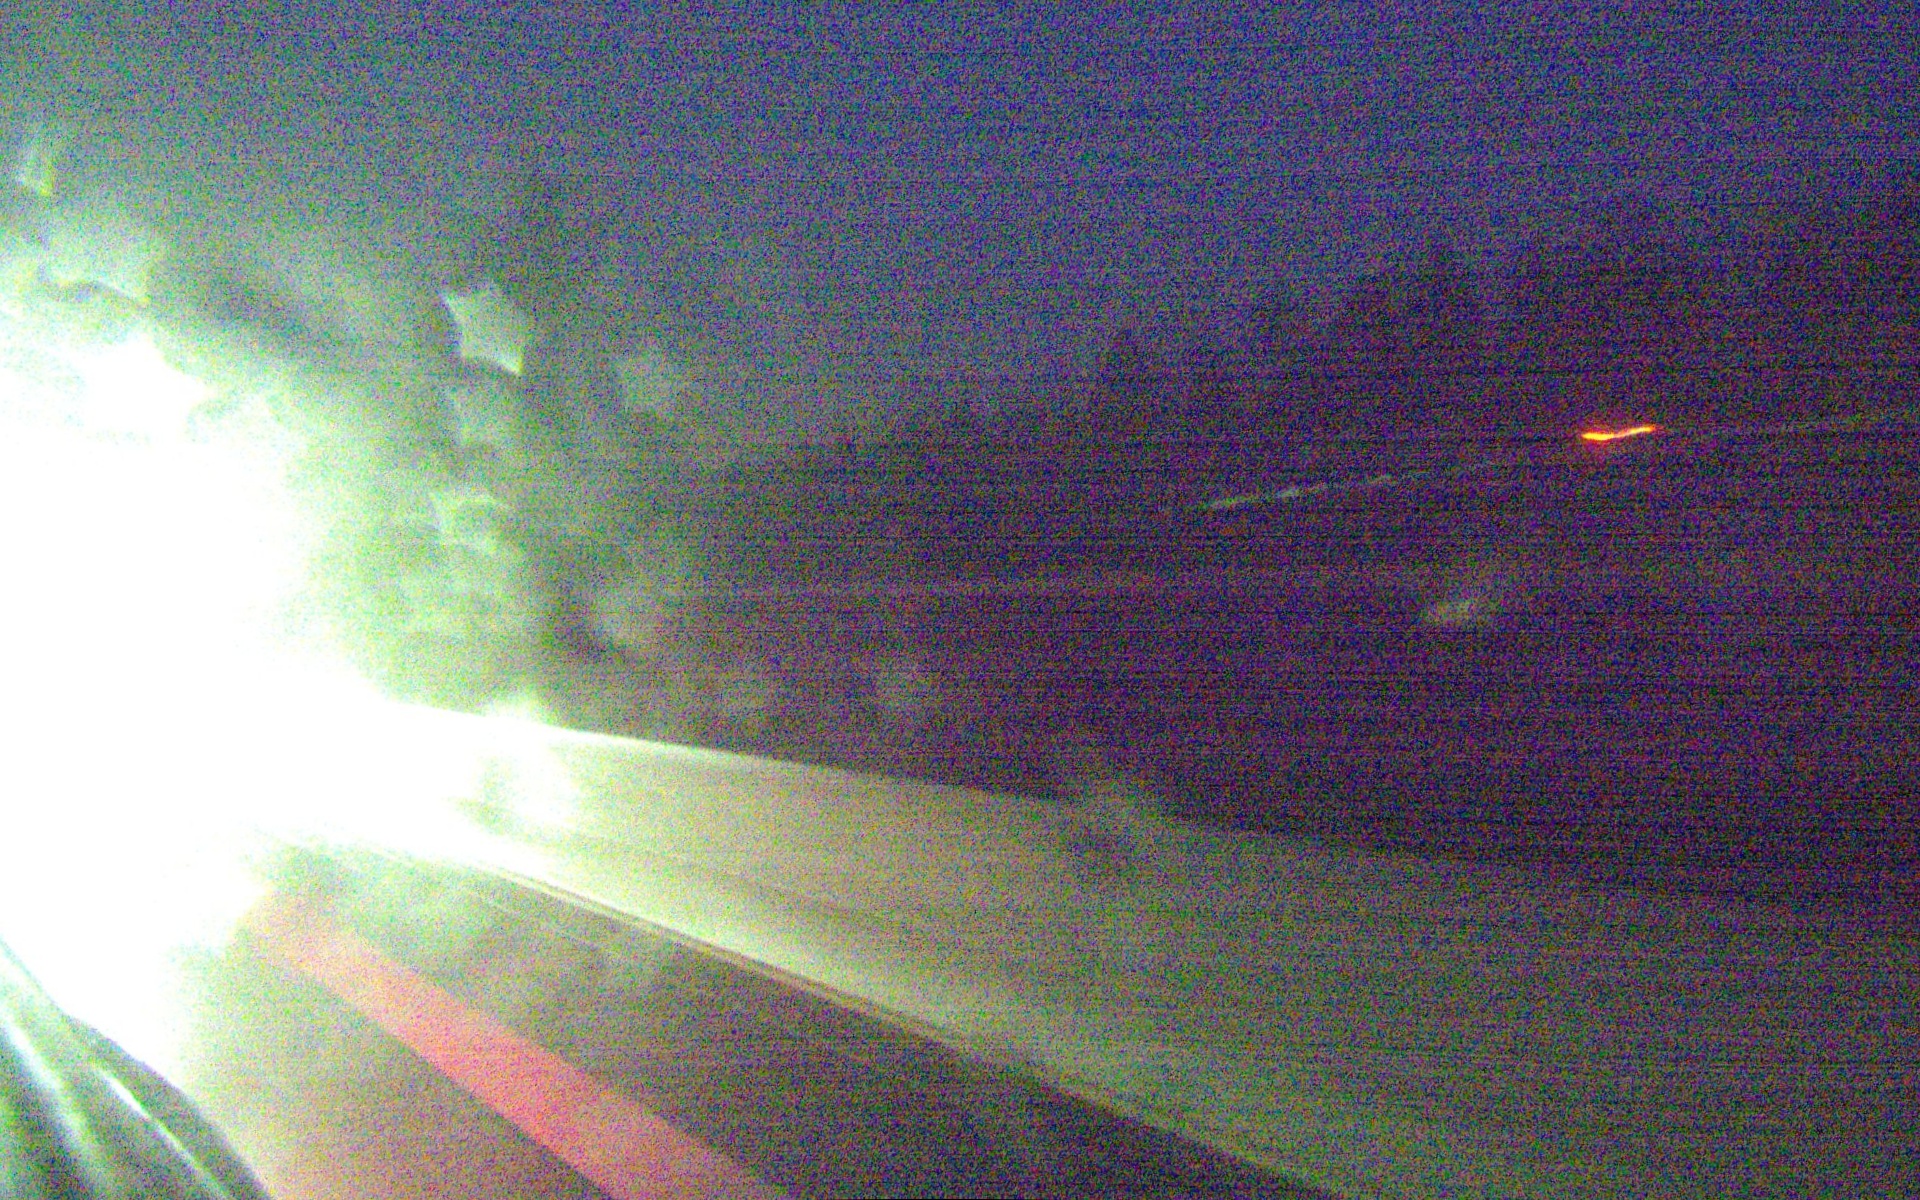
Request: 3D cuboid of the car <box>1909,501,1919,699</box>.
[{"bbox_3d":[9.155,-0.002,6.705,3.997,1.697,1.974,-3,3,40],"label":"car"}]
